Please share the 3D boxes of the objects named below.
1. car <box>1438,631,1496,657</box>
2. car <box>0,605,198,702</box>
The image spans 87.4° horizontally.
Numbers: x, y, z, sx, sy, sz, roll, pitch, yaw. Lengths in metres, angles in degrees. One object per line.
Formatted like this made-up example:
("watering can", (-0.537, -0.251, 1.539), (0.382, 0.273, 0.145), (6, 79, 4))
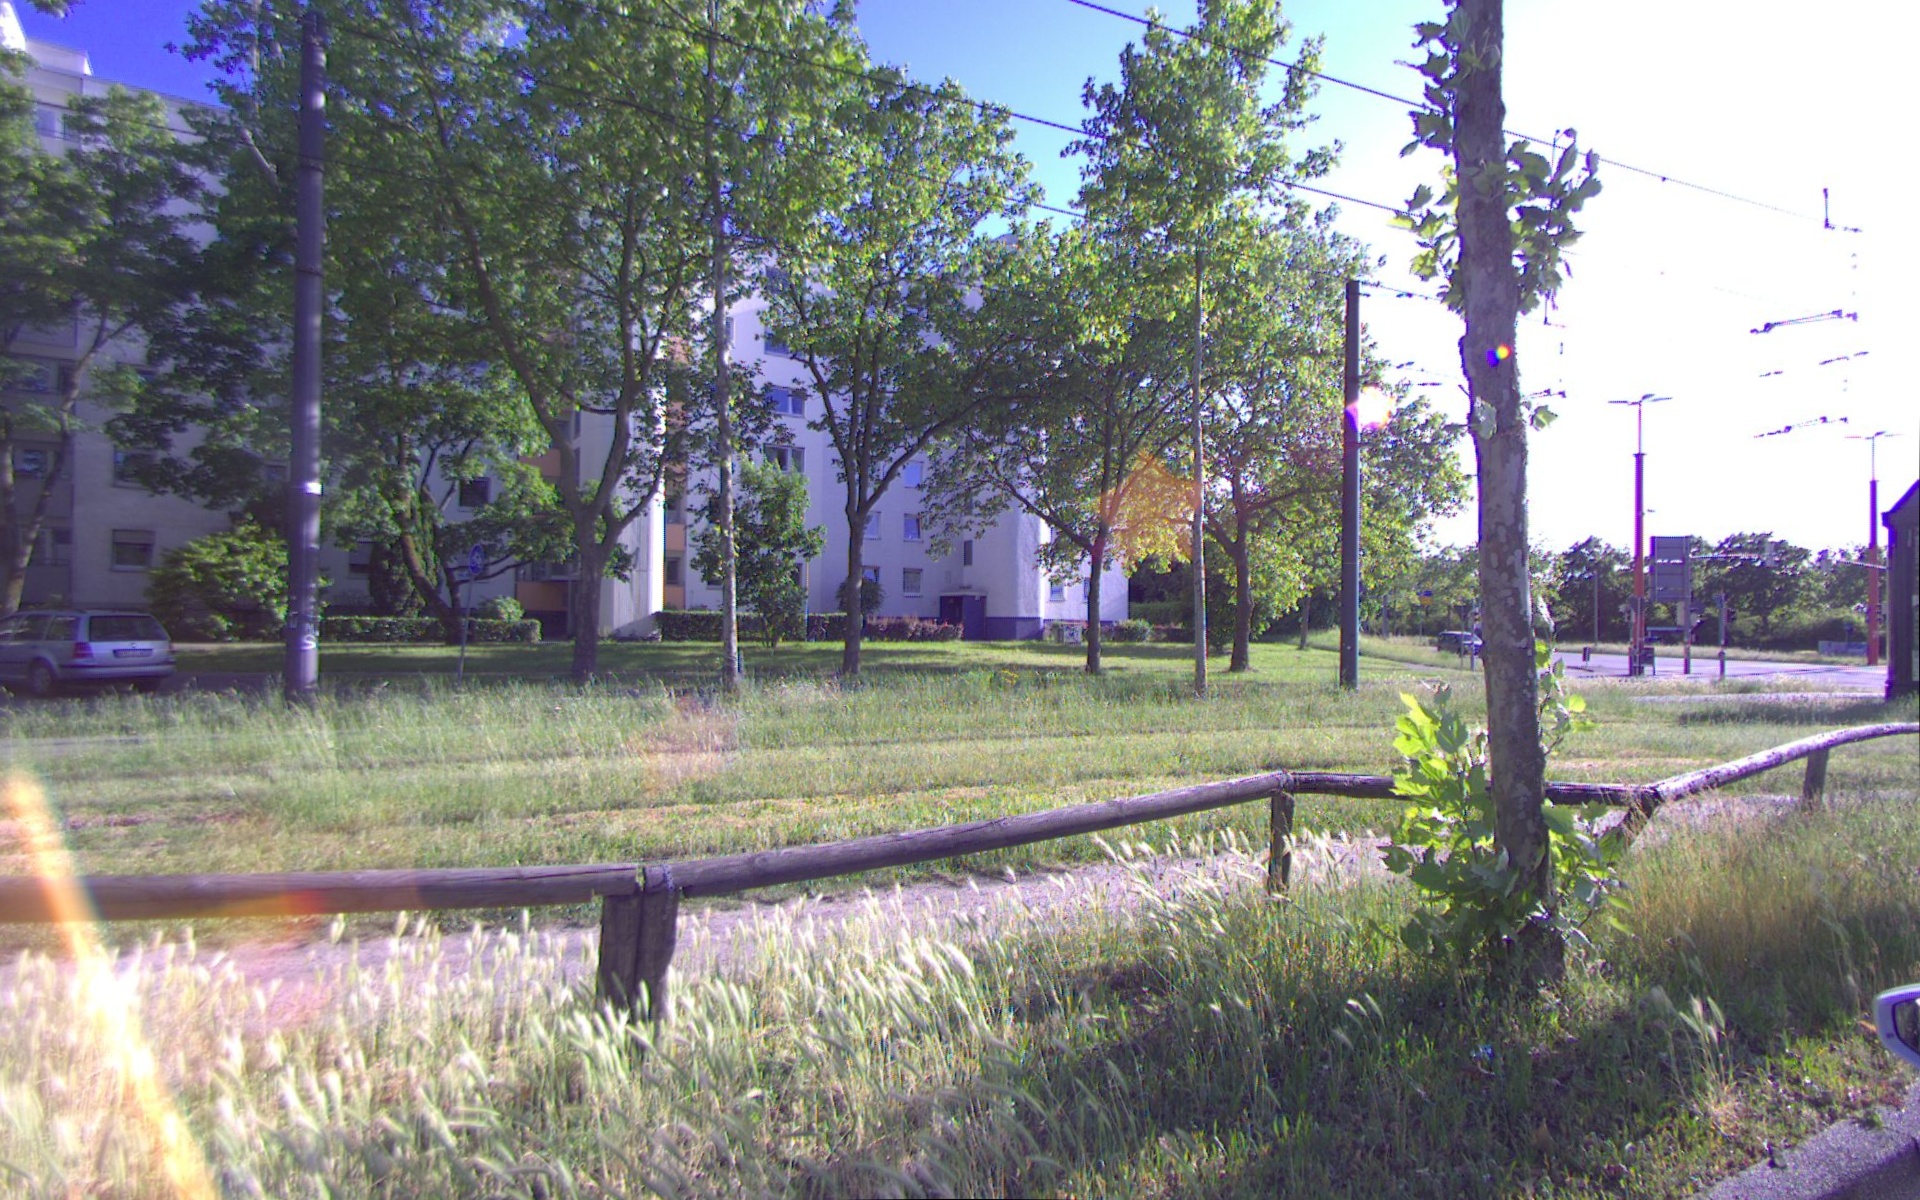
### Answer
("car", (37.294, 3.219, 74.030), (1.867, 1.798, 4.446), (-1, -1, -2))
("car", (-15.830, 0.875, 17.794), (3.969, 1.506, 1.815), (1, 0, 19))
